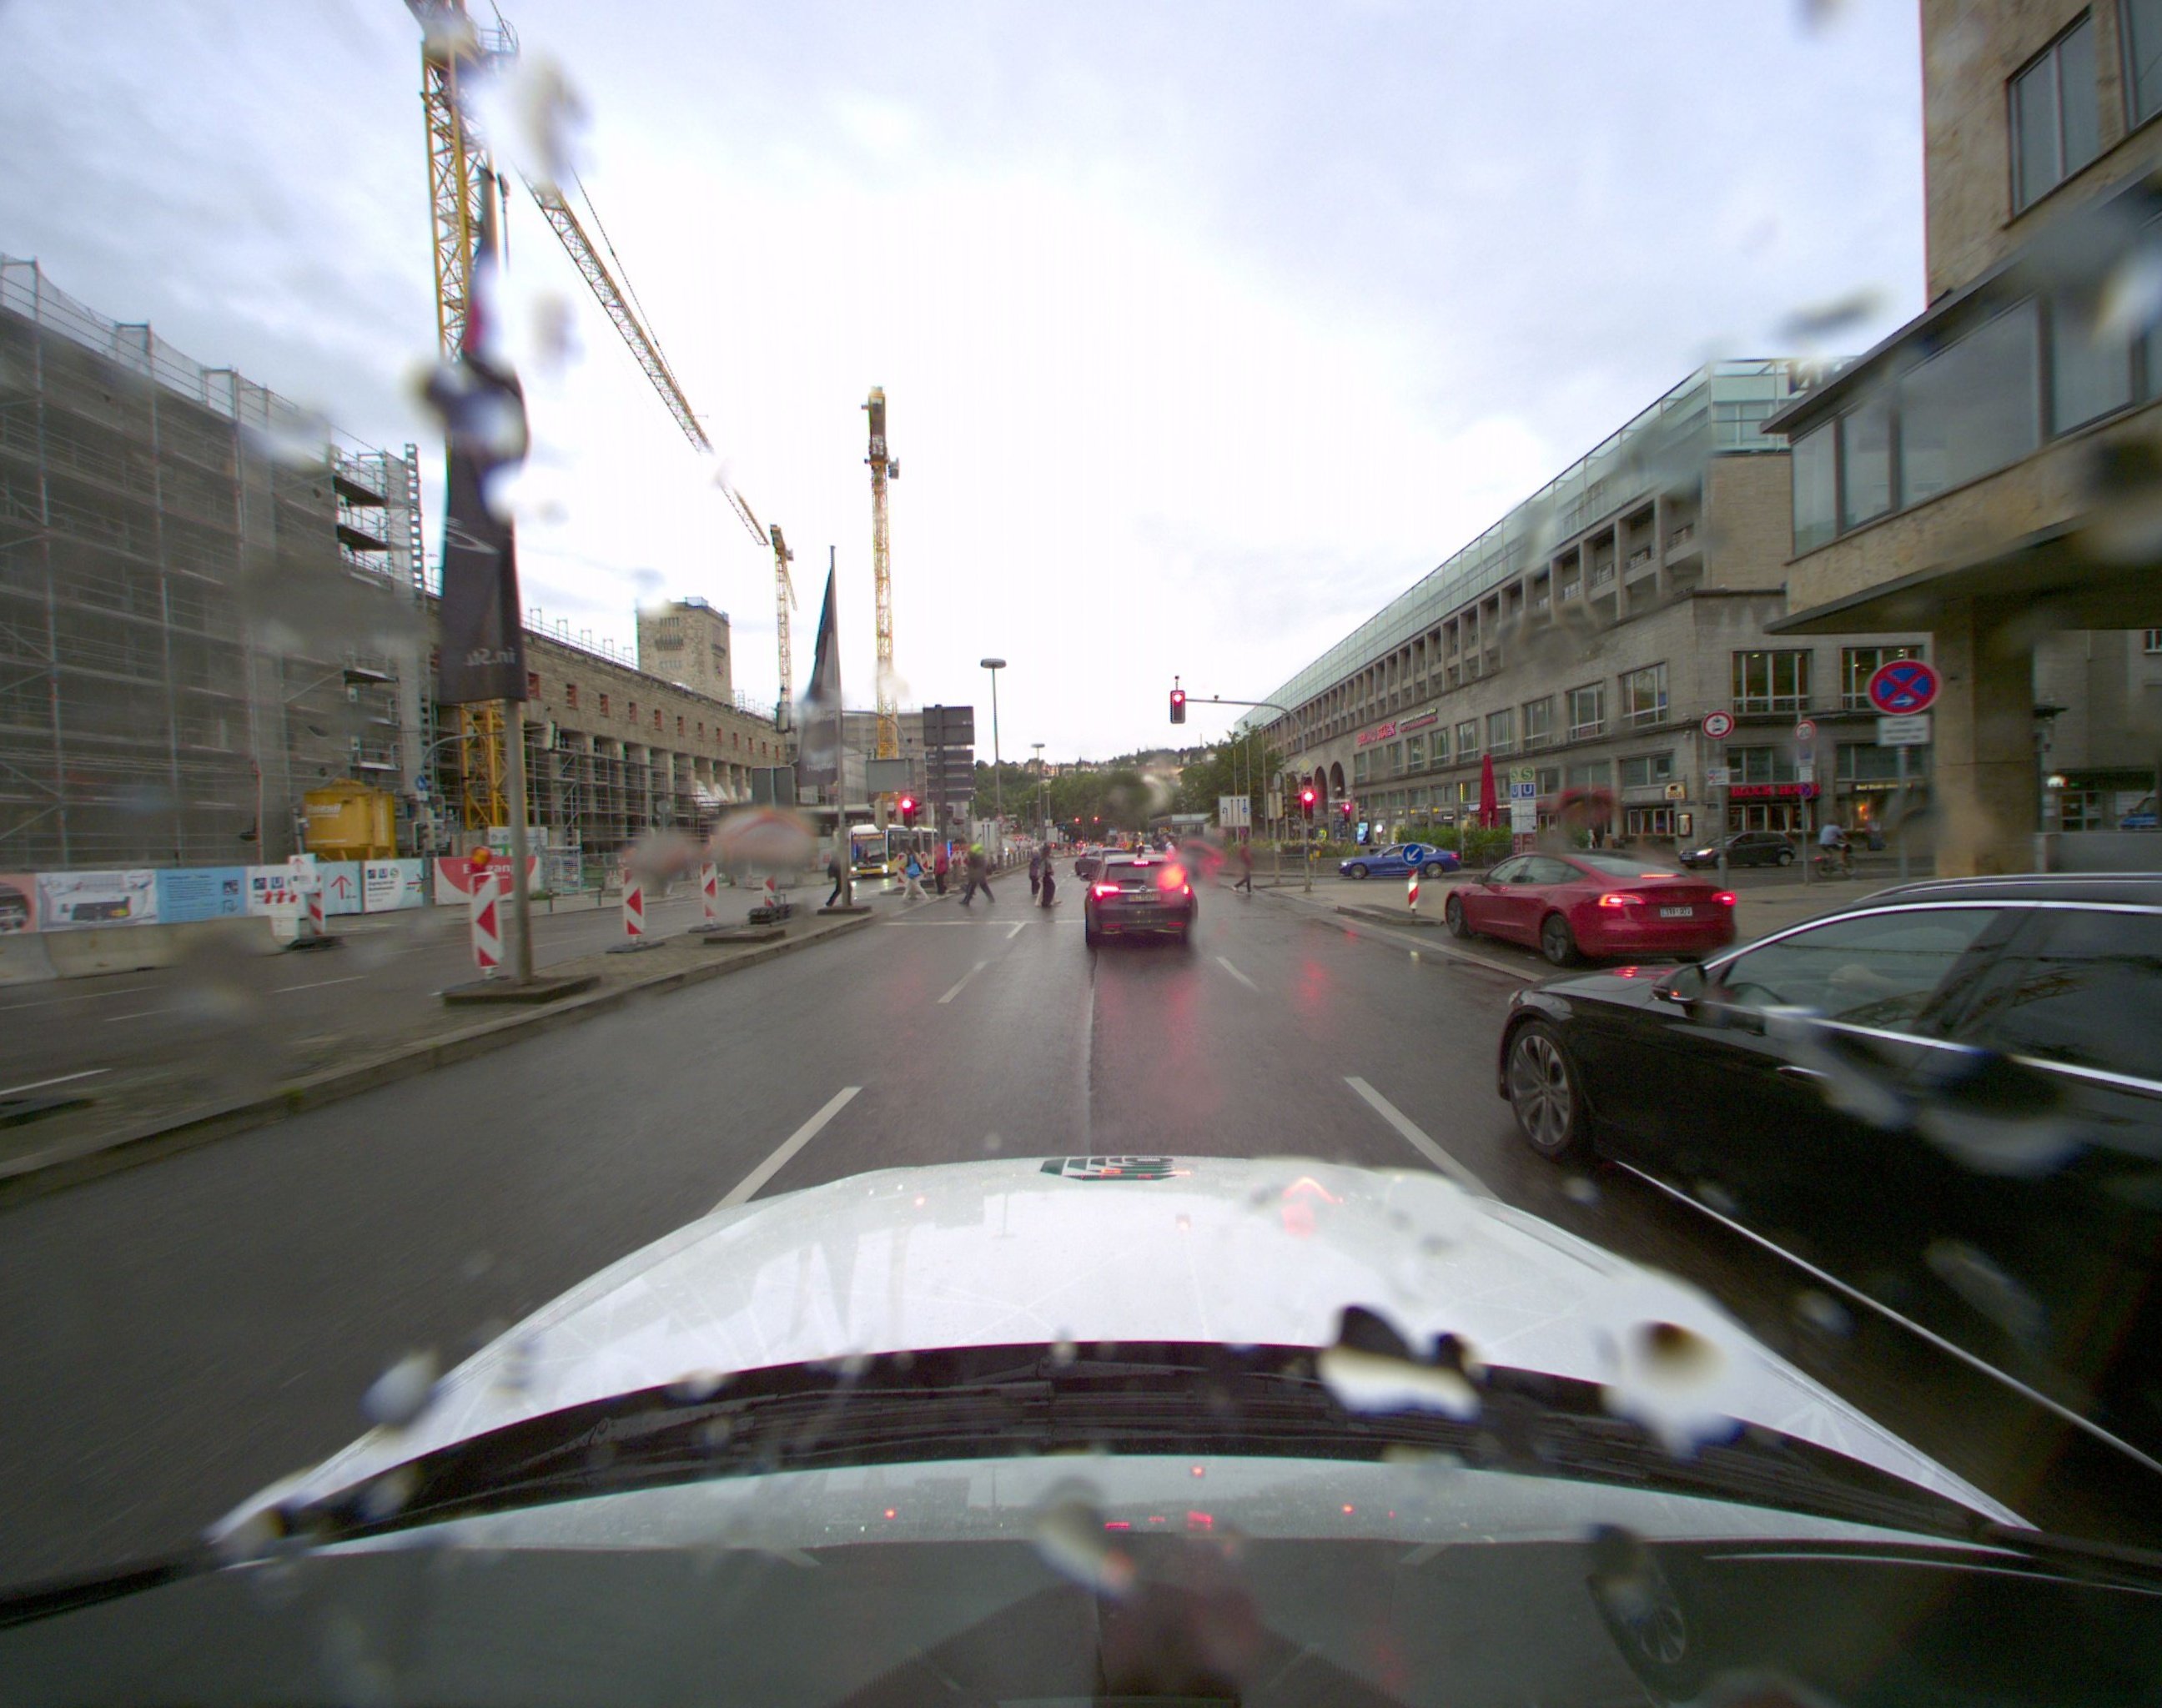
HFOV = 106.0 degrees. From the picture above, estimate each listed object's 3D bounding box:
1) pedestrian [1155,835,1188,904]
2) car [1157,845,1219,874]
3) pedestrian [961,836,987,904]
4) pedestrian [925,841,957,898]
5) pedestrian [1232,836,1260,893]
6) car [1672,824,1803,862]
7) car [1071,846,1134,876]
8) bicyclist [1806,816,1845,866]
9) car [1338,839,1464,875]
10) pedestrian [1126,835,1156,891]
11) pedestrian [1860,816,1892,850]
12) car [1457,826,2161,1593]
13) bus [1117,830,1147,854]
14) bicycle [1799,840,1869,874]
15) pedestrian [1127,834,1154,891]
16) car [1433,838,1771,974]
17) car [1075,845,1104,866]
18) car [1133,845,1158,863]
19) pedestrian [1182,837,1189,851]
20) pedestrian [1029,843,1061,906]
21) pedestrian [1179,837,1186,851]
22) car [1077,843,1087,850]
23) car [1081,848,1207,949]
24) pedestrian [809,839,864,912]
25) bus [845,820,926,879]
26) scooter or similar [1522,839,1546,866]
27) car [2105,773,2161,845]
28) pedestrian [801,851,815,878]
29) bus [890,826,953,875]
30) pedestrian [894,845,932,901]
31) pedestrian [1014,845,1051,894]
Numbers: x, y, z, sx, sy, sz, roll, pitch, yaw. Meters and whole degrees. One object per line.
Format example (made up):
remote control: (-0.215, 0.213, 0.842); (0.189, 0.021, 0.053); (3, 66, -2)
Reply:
pedestrian: (2.506, 0.415, 22.573); (0.798, 1.890, 0.618); (-1, 0, -7)
car: (5.331, 0.268, 41.177); (1.755, 1.398, 4.383); (-1, 0, -13)
pedestrian: (-2.947, 0.425, 22.482); (0.576, 1.836, 0.820); (-1, 0, 2)
pedestrian: (-4.372, 0.482, 25.461); (0.797, 1.717, 0.619); (-3, 0, -2)
pedestrian: (5.148, 0.319, 25.467); (0.563, 1.752, 0.684); (-1, 0, 44)
car: (25.839, -0.411, 32.134); (3.639, 1.398, 1.853); (-1, 0, 3)
car: (1.023, 0.338, 41.332); (1.758, 1.398, 4.508); (-1, 0, -19)
bicyclist: (23.147, -0.395, 25.337); (0.717, 1.540, 0.609); (0, 0, -17)
car: (12.814, 0.123, 32.853); (4.596, 1.398, 1.767); (-1, 0, 19)
pedestrian: (1.760, 0.270, 23.926); (0.797, 1.608, 0.619); (-1, 0, -2)
pedestrian: (36.432, -0.955, 37.320); (0.755, 1.512, 0.716); (-1, 0, -3)
car: (3.027, 0.687, 2.422); (1.787, 1.501, 4.630); (-1, 0, 2)
bus: (7.826, -1.727, 127.305); (4.157, 3.469, 14.661); (-1, 0, 2)
bicycle: (23.578, 0.091, 25.501); (2.213, 1.009, 0.589); (-1, 0, -18)
pedestrian: (1.807, 0.252, 24.736); (0.753, 1.717, 0.466); (-1, 0, -2)
car: (6.725, 0.577, 11.247); (1.868, 1.486, 4.528); (-1, 0, 1)
car: (0.559, 0.118, 56.757); (1.749, 1.398, 4.534); (-1, 0, -2)
car: (5.100, -0.016, 64.599); (1.838, 1.398, 3.566); (-1, 0, 2)
pedestrian: (12.899, -1.195, 100.633); (0.761, 1.690, 0.824); (-1, 0, -2)
pedestrian: (-0.937, 0.531, 21.463); (0.791, 1.626, 0.899); (-1, 0, -2)
pedestrian: (12.692, -1.237, 101.752); (0.761, 1.690, 0.824); (-1, 0, -2)
car: (0.158, -1.391, 156.305); (1.752, 1.398, 3.566); (-1, 0, 2)
car: (0.994, 0.667, 14.126); (1.868, 1.486, 4.001); (-1, 0, 1)
pedestrian: (-6.162, 0.538, 20.568); (1.093, 1.751, 0.653); (-4, 0, -1)
bus: (-13.013, -0.293, 55.271); (2.658, 3.602, 10.244); (-1, 0, 2)
scooter or similar: (19.693, -0.060, 35.419); (0.290, 1.189, 1.014); (0, 0, -16)
car: (44.617, -1.770, 32.041); (6.148, 2.761, 2.000); (-1, 0, 0)
pedestrian: (-18.996, 0.730, 56.646); (0.659, 1.855, 0.799); (-2, 0, 2)
bus: (-12.657, -0.292, 65.456); (2.658, 3.602, 10.216); (-1, 0, 2)
pedestrian: (-4.796, 0.543, 23.336); (0.912, 1.563, 0.899); (-1, 0, -2)
pedestrian: (-1.550, 0.487, 26.192); (0.777, 1.561, 0.881); (-1, 0, 41)
